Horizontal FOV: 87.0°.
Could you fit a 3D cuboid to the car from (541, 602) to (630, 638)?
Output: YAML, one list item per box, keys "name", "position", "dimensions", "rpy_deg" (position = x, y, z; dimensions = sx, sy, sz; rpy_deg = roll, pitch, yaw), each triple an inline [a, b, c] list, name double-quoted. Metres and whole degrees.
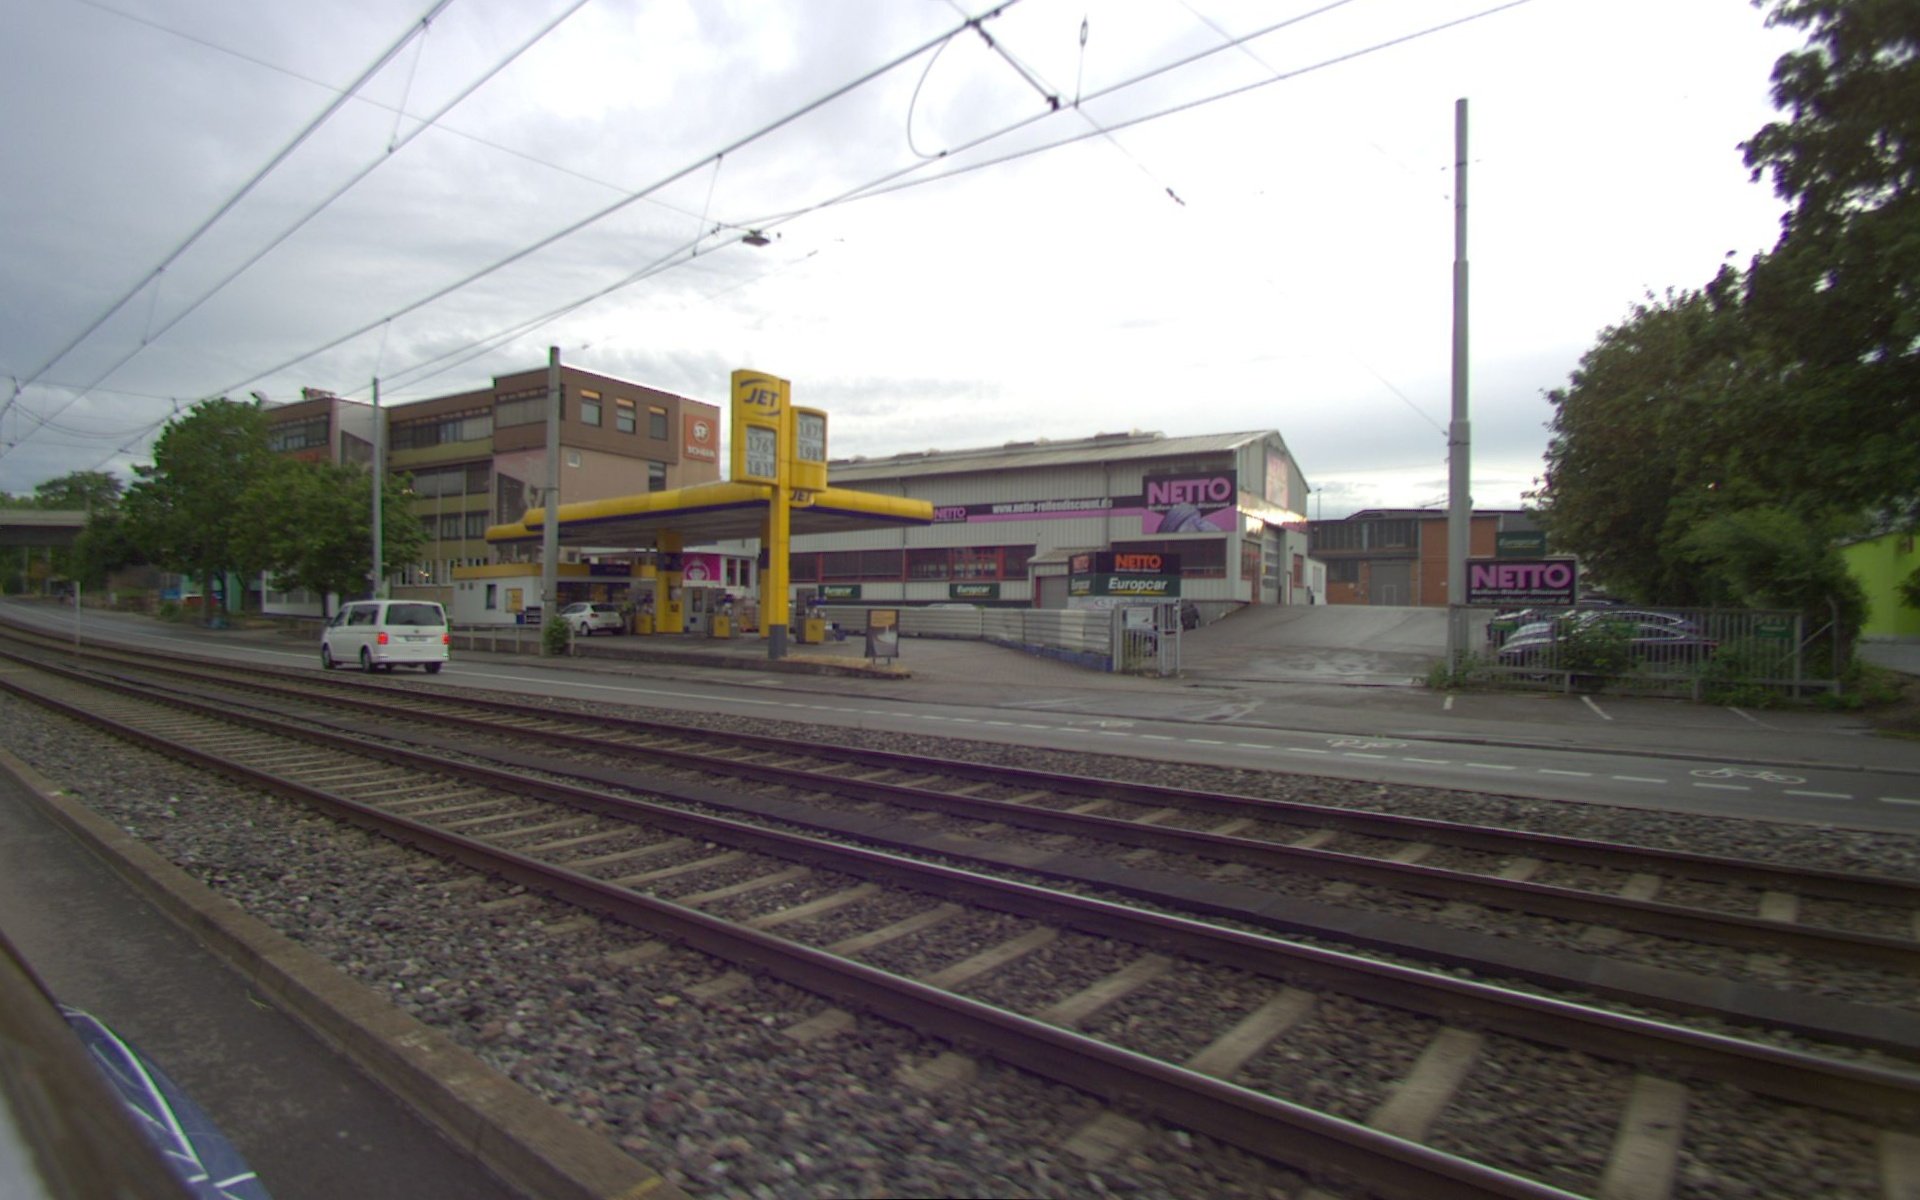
- name: "car"
  position: [-16.178, 0.813, 43.614]
  dimensions: [4.070, 1.426, 1.753]
  rpy_deg: [1, 1, 38]

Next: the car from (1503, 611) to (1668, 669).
- name: "car"
  position: [18.269, 1.122, 29.696]
  dimensions: [3.988, 1.467, 1.673]
  rpy_deg: [1, 1, 33]

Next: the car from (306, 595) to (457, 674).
- name: "car"
  position: [-16.162, 0.962, 28.174]
  dimensions: [5.056, 2.029, 1.973]
  rpy_deg: [-1, -4, 40]

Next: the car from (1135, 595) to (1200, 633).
- name: "car"
  position: [9.970, 0.686, 48.390]
  dimensions: [1.845, 1.662, 4.056]
  rpy_deg: [-1, -3, 31]

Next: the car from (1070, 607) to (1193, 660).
- name: "car"
  position: [5.560, 1.068, 32.918]
  dimensions: [3.541, 1.600, 1.707]
  rpy_deg: [0, 1, -12]

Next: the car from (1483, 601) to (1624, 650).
- name: "car"
  position: [19.825, 0.805, 33.889]
  dimensions: [3.988, 1.467, 1.673]
  rpy_deg: [1, 1, 33]

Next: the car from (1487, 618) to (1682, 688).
- name: "car"
  position: [15.378, 1.250, 25.106]
  dimensions: [3.988, 1.467, 1.673]
  rpy_deg: [1, 1, 33]

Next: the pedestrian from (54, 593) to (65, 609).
- name: "pedestrian"
  position: [-92.909, 0.087, 104.397]
  dimensions: [1.021, 1.657, 0.737]
  rpy_deg: [0, -1, 42]

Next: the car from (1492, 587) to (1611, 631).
- name: "car"
  position: [23.353, 0.301, 40.029]
  dimensions: [3.988, 1.630, 1.673]
  rpy_deg: [1, 1, 33]
